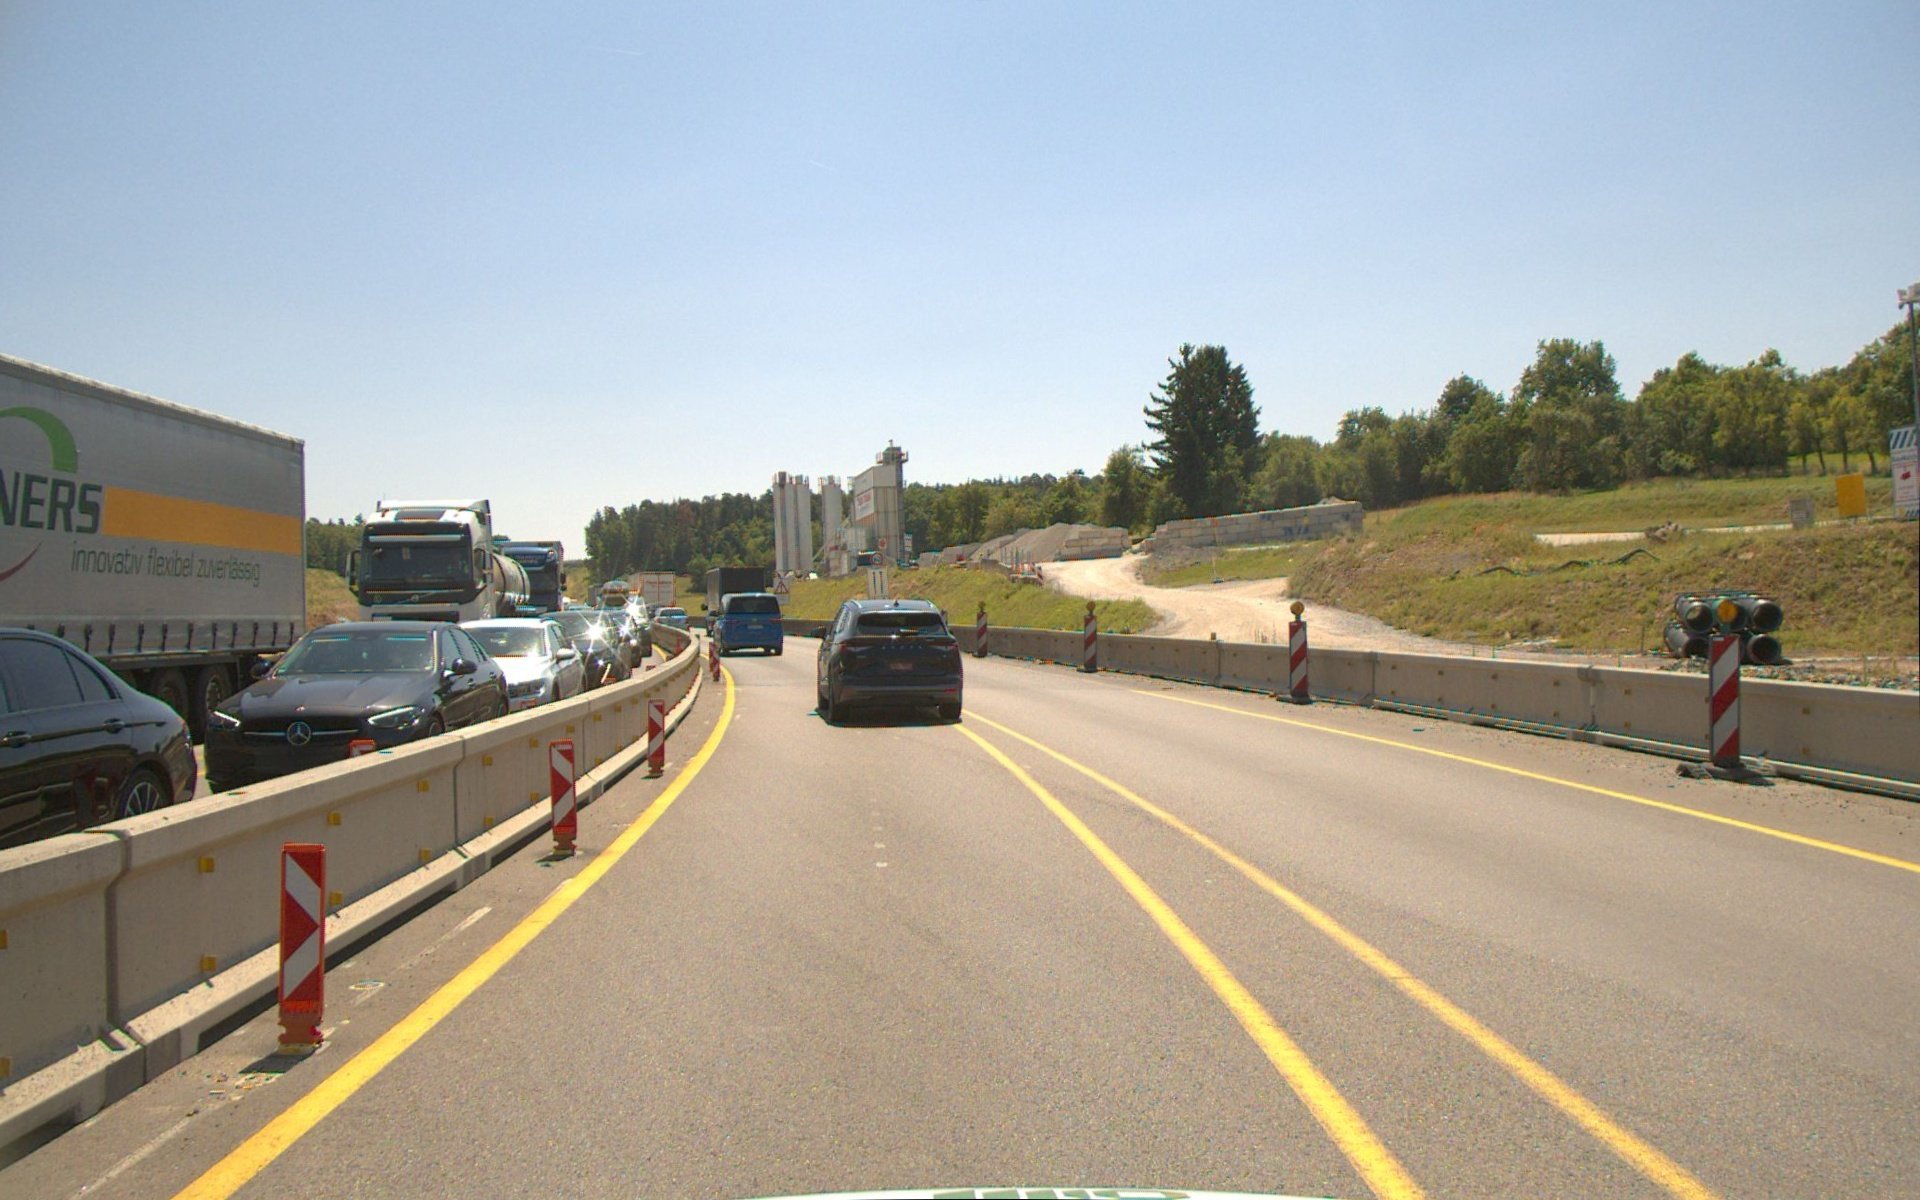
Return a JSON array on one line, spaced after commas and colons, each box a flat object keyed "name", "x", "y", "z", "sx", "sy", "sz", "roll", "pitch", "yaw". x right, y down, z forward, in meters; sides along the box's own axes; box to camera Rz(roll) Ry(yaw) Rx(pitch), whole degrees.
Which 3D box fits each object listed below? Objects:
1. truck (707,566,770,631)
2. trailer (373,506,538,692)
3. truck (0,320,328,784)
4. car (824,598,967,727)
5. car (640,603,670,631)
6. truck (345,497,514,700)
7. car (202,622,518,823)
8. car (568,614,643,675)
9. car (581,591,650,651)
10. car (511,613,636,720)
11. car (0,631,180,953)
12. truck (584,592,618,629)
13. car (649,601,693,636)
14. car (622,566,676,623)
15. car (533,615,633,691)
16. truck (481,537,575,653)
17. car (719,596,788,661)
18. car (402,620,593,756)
[{"name": "truck", "x": -11.094, "y": -0.068, "z": 82.519, "sx": 2.626, "sy": 2.996, "sz": 5.605, "roll": -3, "pitch": 0, "yaw": -11}, {"name": "trailer", "x": -12.633, "y": -0.034, "z": 42.372, "sx": 2.656, "sy": 4.047, "sz": 11.214, "roll": -2, "pitch": 0, "yaw": -11}, {"name": "truck", "x": -10.484, "y": -0.430, "z": 18.482, "sx": 2.718, "sy": 4.352, "sz": 11.773, "roll": -2, "pitch": 0, "yaw": -3}, {"name": "car", "x": -0.999, "y": 0.810, "z": 23.462, "sx": 1.807, "sy": 1.609, "sz": 3.996, "roll": -1, "pitch": 0, "yaw": -5}, {"name": "car", "x": -19.197, "y": 1.044, "z": 104.149, "sx": 1.788, "sy": 1.673, "sz": 3.855, "roll": -1, "pitch": 0, "yaw": -11}, {"name": "truck", "x": -11.585, "y": -0.047, "z": 36.622, "sx": 2.651, "sy": 4.038, "sz": 6.183, "roll": -2, "pitch": 0, "yaw": -10}, {"name": "car", "x": -5.301, "y": 0.990, "z": 15.188, "sx": 1.623, "sy": 1.478, "sz": 4.244, "roll": -1, "pitch": 0, "yaw": -5}, {"name": "car", "x": -9.562, "y": 1.164, "z": 44.928, "sx": 1.703, "sy": 1.472, "sz": 4.787, "roll": -1, "pitch": 0, "yaw": -9}, {"name": "car", "x": -11.065, "y": 0.627, "z": 53.337, "sx": 2.008, "sy": 1.808, "sz": 5.053, "roll": -1, "pitch": 0, "yaw": -10}, {"name": "car", "x": -6.441, "y": 1.052, "z": 27.908, "sx": 1.646, "sy": 1.571, "sz": 4.111, "roll": -1, "pitch": 1, "yaw": -8}, {"name": "car", "x": -5.227, "y": 0.914, "z": 7.336, "sx": 1.691, "sy": 1.432, "sz": 4.127, "roll": -1, "pitch": 0, "yaw": -2}, {"name": "truck", "x": -43.052, "y": 1.198, "z": 197.976, "sx": 3.418, "sy": 4.294, "sz": 10.335, "roll": -1, "pitch": 0, "yaw": -15}, {"name": "car", "x": -14.350, "y": 0.892, "z": 81.985, "sx": 2.009, "sy": 1.553, "sz": 5.053, "roll": -3, "pitch": 1, "yaw": -10}, {"name": "car", "x": -24.016, "y": -0.395, "z": 127.301, "sx": 3.380, "sy": 4.173, "sz": 9.159, "roll": 1, "pitch": 0, "yaw": -15}, {"name": "car", "x": -7.976, "y": 1.070, "z": 35.321, "sx": 1.703, "sy": 1.441, "sz": 4.787, "roll": -1, "pitch": 0, "yaw": -9}, {"name": "truck", "x": -17.271, "y": -0.175, "z": 66.747, "sx": 2.723, "sy": 4.209, "sz": 10.843, "roll": -2, "pitch": 0, "yaw": -10}, {"name": "car", "x": -6.489, "y": 0.848, "z": 51.639, "sx": 1.957, "sy": 1.876, "sz": 3.991, "roll": -2, "pitch": 1, "yaw": -9}, {"name": "car", "x": -5.820, "y": 1.036, "z": 21.293, "sx": 1.646, "sy": 1.469, "sz": 4.546, "roll": -1, "pitch": 0, "yaw": -7}]
